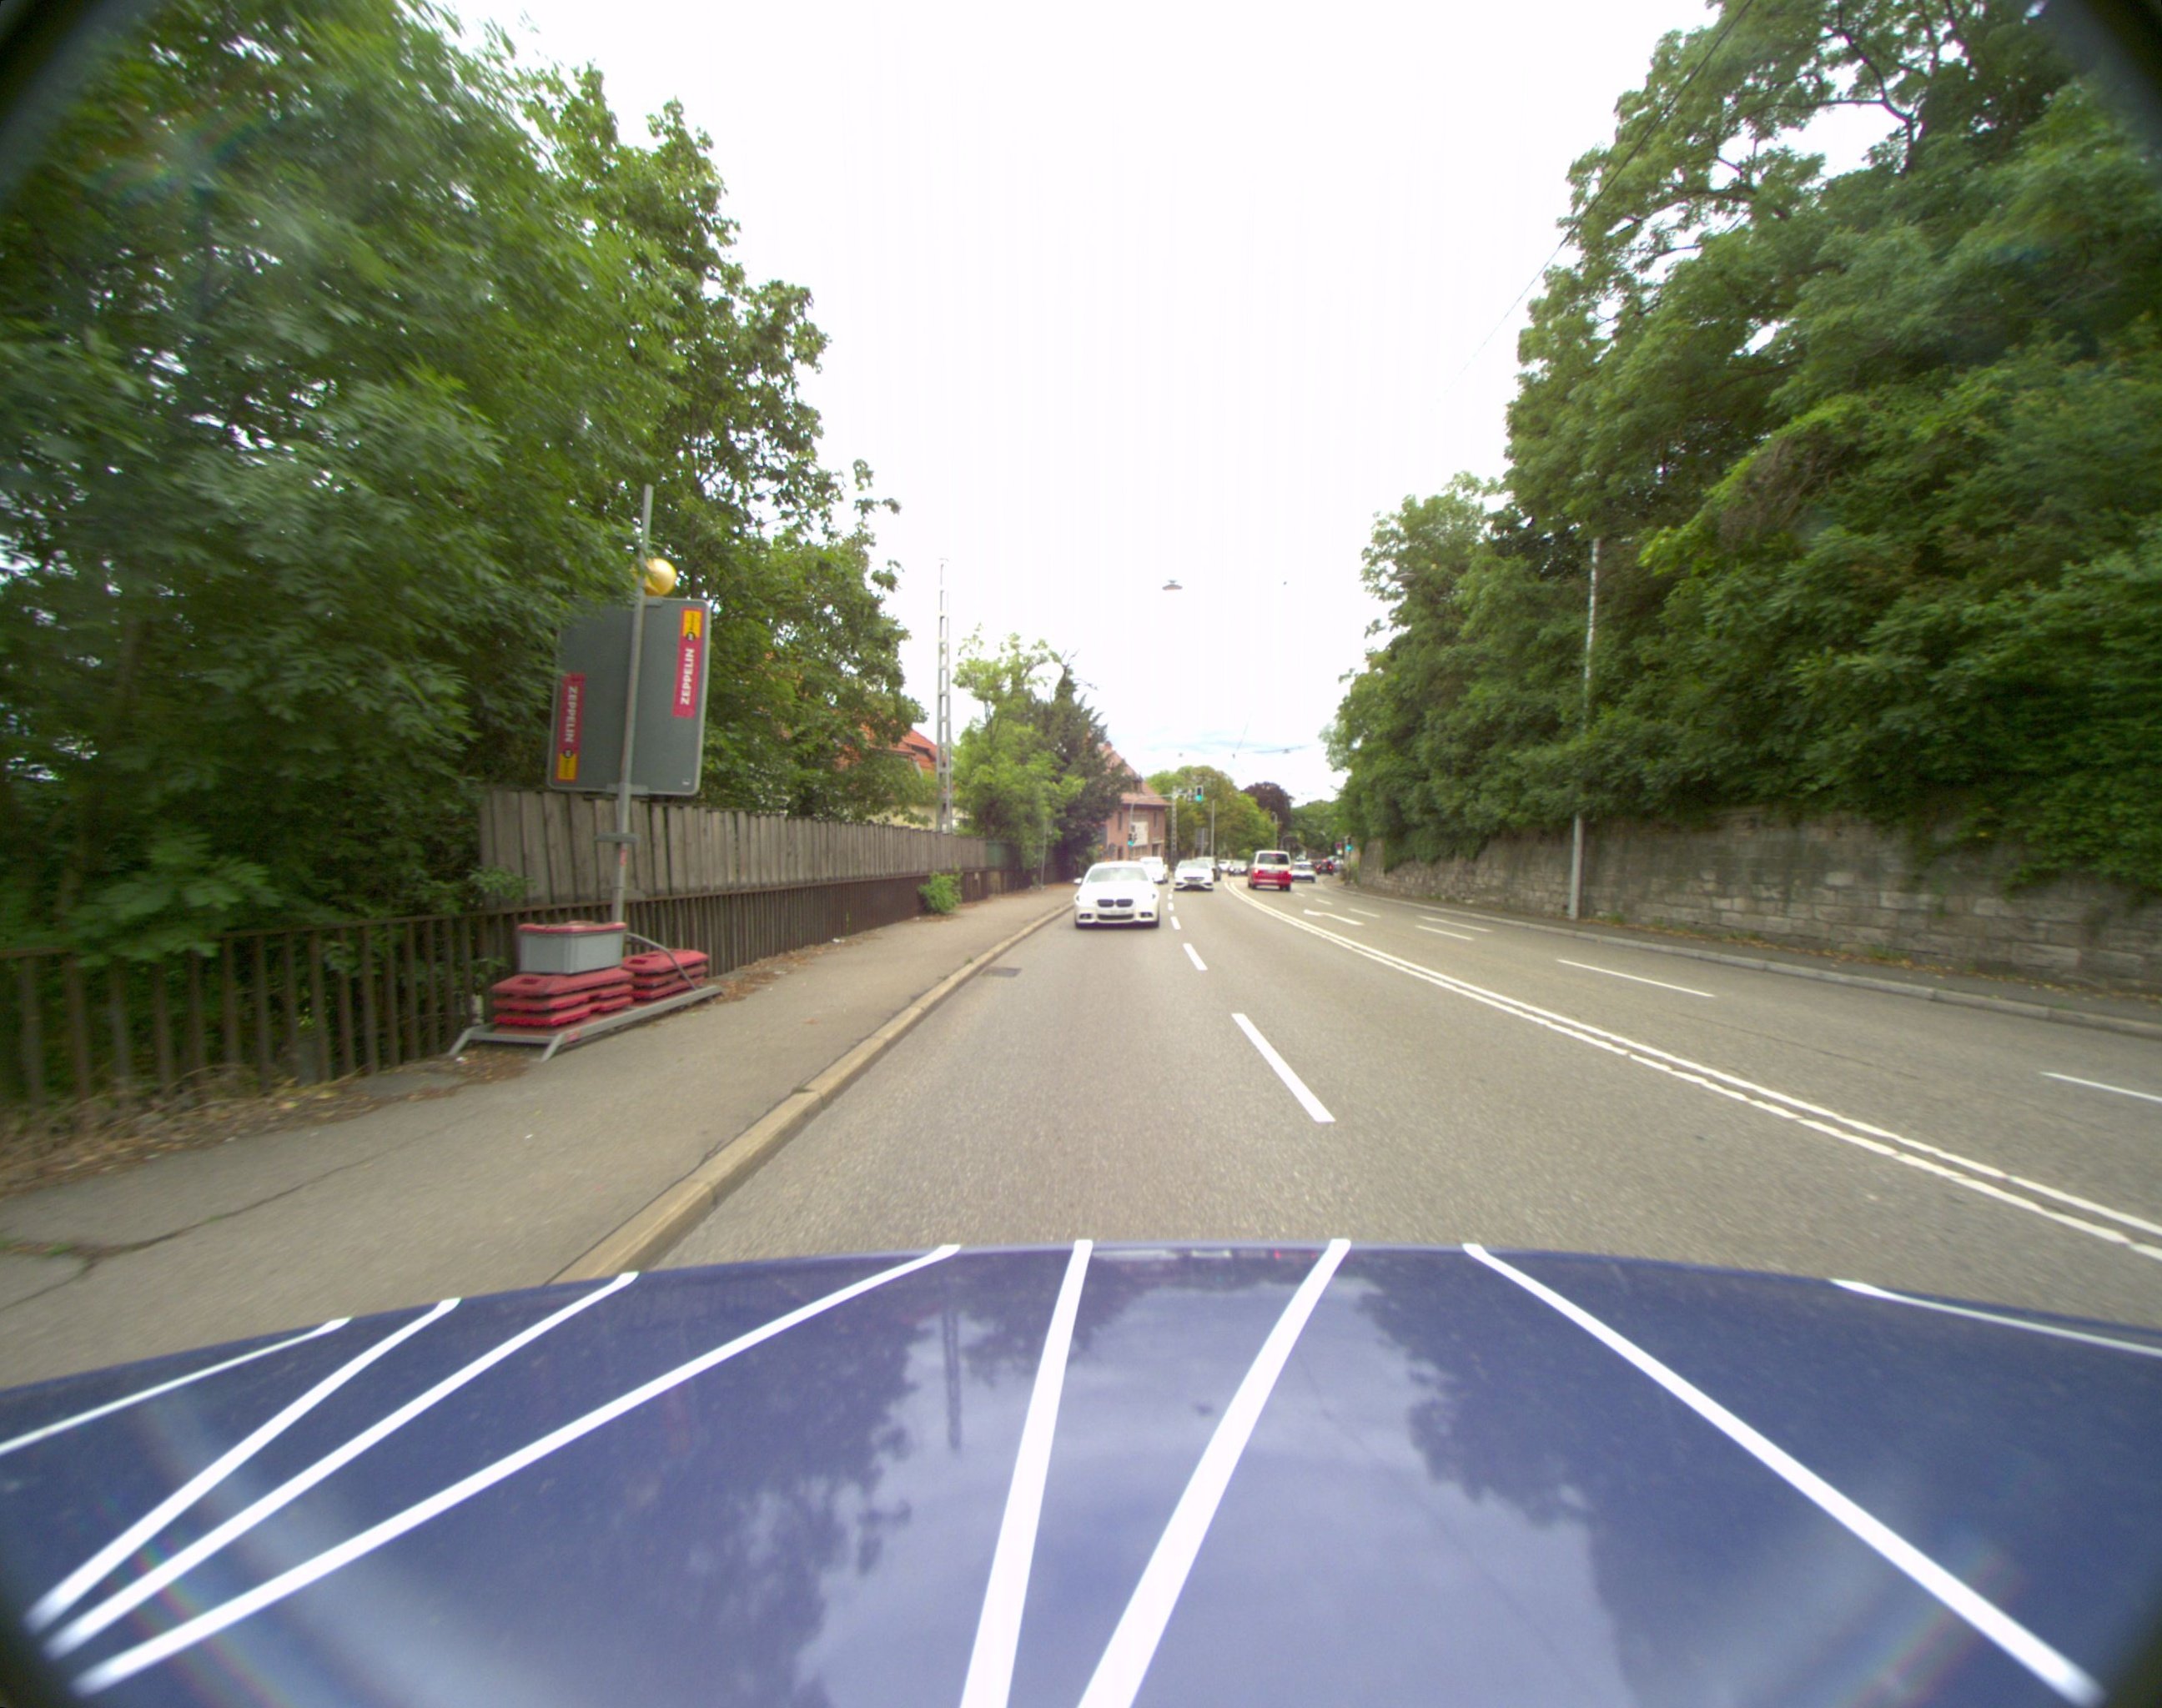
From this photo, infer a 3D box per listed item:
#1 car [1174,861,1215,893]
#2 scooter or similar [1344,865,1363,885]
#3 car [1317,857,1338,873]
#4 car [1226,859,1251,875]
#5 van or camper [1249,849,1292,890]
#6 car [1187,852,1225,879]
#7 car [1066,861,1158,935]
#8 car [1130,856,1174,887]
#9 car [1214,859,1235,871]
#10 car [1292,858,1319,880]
[{"bbox_3d":[5.362,1.042,35.727,1.801,1.382,3.530,1,0,10],"label":"car"},{"bbox_3d":[17.709,1.373,49.379,1.100,1.230,0.433,-3,0,-29],"label":"scooter or similar"},{"bbox_3d":[29.657,1.289,91.301,1.744,1.835,4.257,2,0,27],"label":"car"},{"bbox_3d":[14.609,1.164,70.270,1.832,1.369,4.005,2,0,17],"label":"car"},{"bbox_3d":[9.582,0.730,38.679,1.892,1.867,4.770,2,0,12],"label":"van or camper"},{"bbox_3d":[8.566,0.781,51.908,1.955,1.730,4.006,2,0,17],"label":"car"},{"bbox_3d":[0.807,0.953,17.487,1.822,1.462,4.787,-1,-2,5],"label":"car"},{"bbox_3d":[4.301,1.011,45.277,1.955,1.761,4.005,2,0,14],"label":"car"},{"bbox_3d":[17.802,1.342,93.967,1.676,1.453,4.373,3,1,21],"label":"car"},{"bbox_3d":[17.068,1.118,57.712,1.784,1.458,4.107,3,1,18],"label":"car"}]
